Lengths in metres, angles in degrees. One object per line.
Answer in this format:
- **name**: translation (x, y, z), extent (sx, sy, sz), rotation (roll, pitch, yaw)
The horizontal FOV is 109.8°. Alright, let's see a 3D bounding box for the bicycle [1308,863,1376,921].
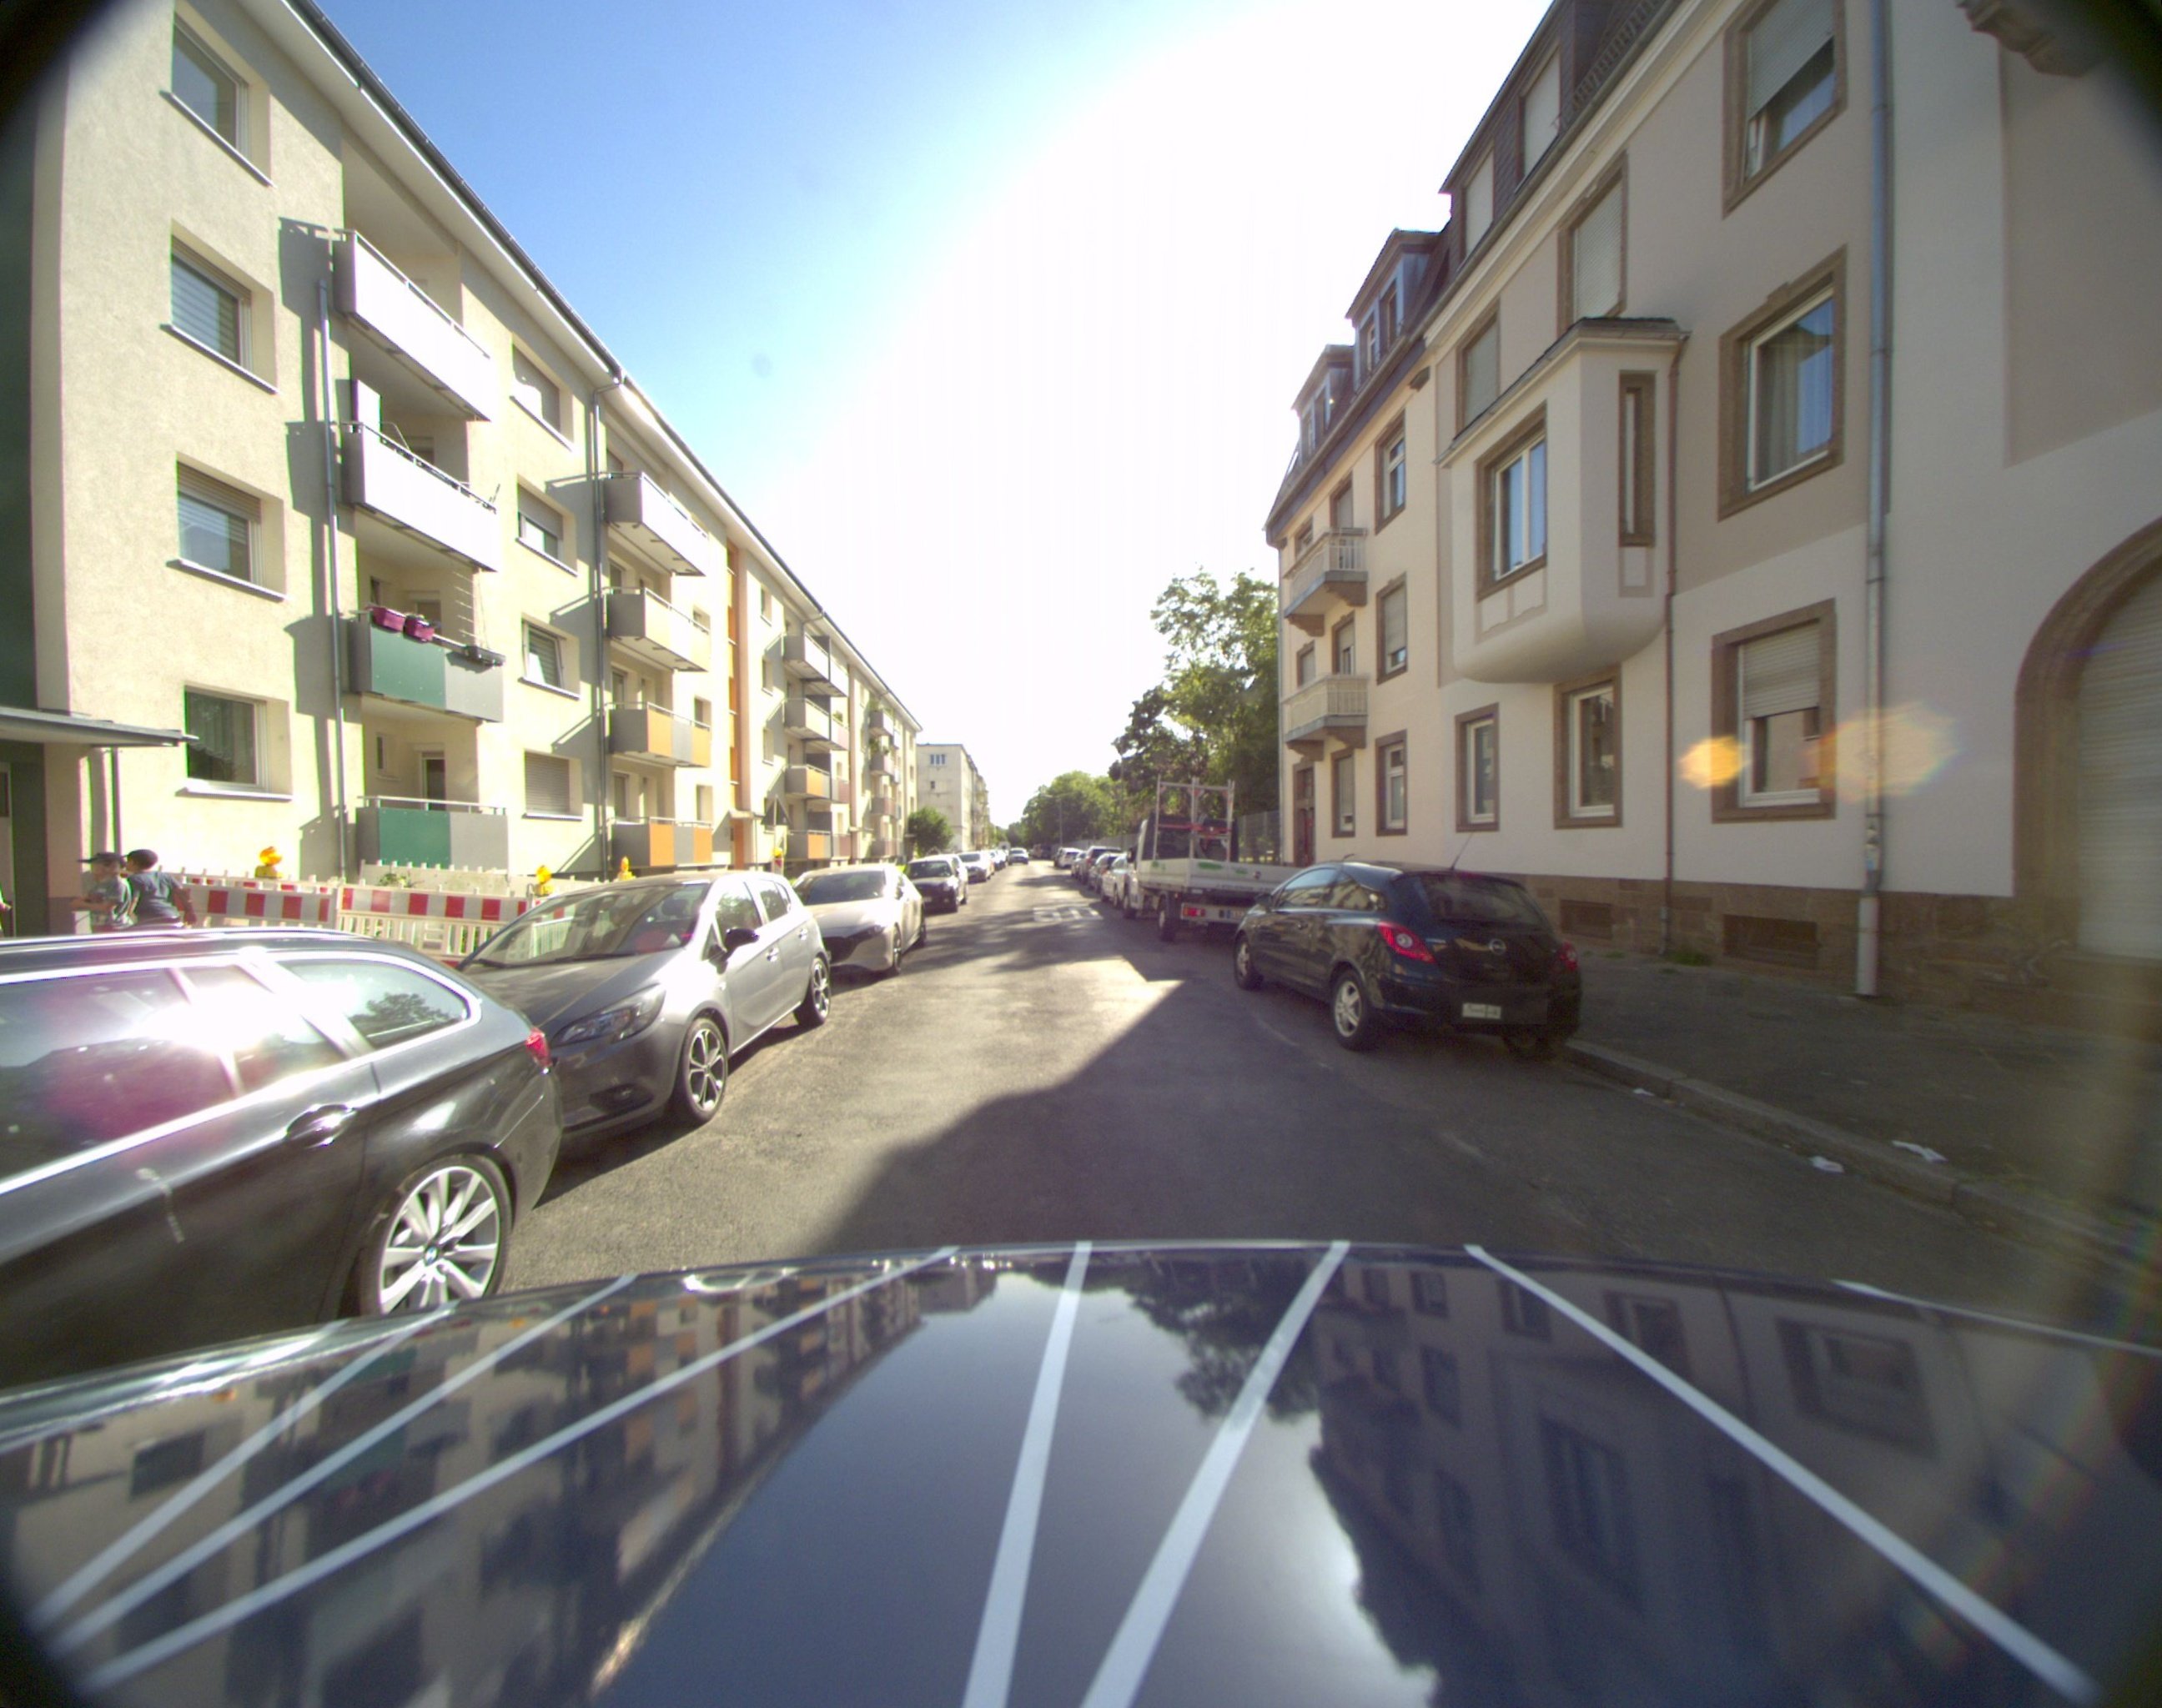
- **bicycle**: translation (5.987, 0.833, 17.552), extent (0.631, 1.197, 2.339), rotation (0, 0, -4)

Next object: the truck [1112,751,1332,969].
- **truck**: translation (2.160, 0.021, 14.430), extent (2.265, 2.969, 7.271), rotation (3, 1, -3)

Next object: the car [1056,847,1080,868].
- **car**: translation (-1.172, 0.263, 66.862), extent (1.717, 1.654, 4.162), rotation (3, 1, -5)

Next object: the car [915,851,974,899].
- **car**: translation (-4.506, 0.647, 25.518), extent (1.691, 1.454, 3.816), rotation (0, 1, -7)

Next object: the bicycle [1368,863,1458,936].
- **bicycle**: translation (6.338, 0.821, 14.645), extent (0.571, 1.272, 2.339), rotation (0, 0, -4)

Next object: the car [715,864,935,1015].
- **car**: translation (-3.354, 1.008, 10.913), extent (1.797, 1.463, 4.336), rotation (-4, 2, -3)

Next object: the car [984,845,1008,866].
- **car**: translation (-6.663, 0.104, 59.409), extent (1.757, 1.550, 4.252), rotation (-1, 1, -6)

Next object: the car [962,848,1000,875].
- **car**: translation (-5.772, 0.410, 44.240), extent (1.757, 1.436, 4.521), rotation (0, 1, -2)

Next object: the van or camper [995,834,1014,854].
- **van or camper**: translation (-12.566, -1.628, 124.520), extent (2.959, 3.161, 6.169), rotation (1, 0, -5)

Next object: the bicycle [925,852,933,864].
- **bicycle**: translation (-12.465, 0.320, 62.305), extent (0.486, 1.006, 2.282), rotation (1, 1, -7)

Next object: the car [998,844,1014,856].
- **car**: translation (-10.072, -0.608, 102.103), extent (2.070, 1.544, 3.997), rotation (-1, 1, -6)

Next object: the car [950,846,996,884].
- **car**: translation (-5.136, 0.481, 36.689), extent (1.904, 1.613, 4.599), rotation (-3, 1, -5)

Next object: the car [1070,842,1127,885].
- **car**: translation (0.668, 0.350, 33.159), extent (1.884, 1.654, 4.928), rotation (2, 1, -5)

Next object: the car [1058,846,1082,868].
- **car**: translation (-0.928, 0.231, 61.983), extent (1.568, 1.634, 3.613), rotation (3, 1, -5)

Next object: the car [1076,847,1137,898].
- **car**: translation (0.828, 0.584, 27.182), extent (1.797, 1.554, 4.457), rotation (-1, 1, -3)

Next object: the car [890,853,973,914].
- **car**: translation (-3.947, 0.727, 20.548), extent (1.693, 1.458, 3.581), rotation (0, 1, -3)

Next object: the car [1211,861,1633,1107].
- **car**: translation (2.622, 0.898, 7.056), extent (1.650, 1.408, 4.077), rotation (4, 1, -6)

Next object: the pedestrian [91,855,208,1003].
- **pedestrian**: translation (-9.348, 0.731, 7.645), extent (0.471, 1.425, 0.576), rotation (1, 1, -6)

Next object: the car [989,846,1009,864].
- **car**: translation (-6.933, 0.069, 64.557), extent (1.609, 1.476, 3.795), rotation (-1, 1, -5)

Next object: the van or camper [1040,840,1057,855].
- **van or camper**: translation (-5.029, -1.030, 116.891), extent (2.212, 2.268, 5.306), rotation (-1, 1, -6)

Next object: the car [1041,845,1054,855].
- **car**: translation (-4.900, -0.591, 110.877), extent (1.652, 1.409, 3.997), rotation (-1, 1, -6)

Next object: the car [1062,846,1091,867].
- **car**: translation (-0.380, 0.176, 56.007), extent (1.799, 1.436, 4.117), rotation (2, 1, -4)

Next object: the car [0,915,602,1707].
- **car**: translation (-2.704, 1.088, 0.691), extent (1.859, 1.515, 4.773), rotation (-1, 2, -6)

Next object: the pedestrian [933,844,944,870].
- **pedestrian**: translation (-9.919, 0.207, 52.876), extent (0.647, 1.761, 0.840), rotation (0, 2, -2)

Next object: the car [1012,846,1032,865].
- **car**: translation (-5.948, 0.145, 76.289), extent (1.862, 1.544, 3.995), rotation (-4, 3, -6)

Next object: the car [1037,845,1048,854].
- **car**: translation (-6.865, -0.832, 135.501), extent (1.652, 1.447, 3.997), rotation (-1, 1, -6)

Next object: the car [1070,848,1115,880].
- **car**: translation (0.537, 0.486, 39.797), extent (1.799, 1.462, 4.499), rotation (2, 1, -5)

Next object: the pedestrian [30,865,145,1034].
- **pedestrian**: translation (-8.814, 0.815, 6.757), extent (0.452, 1.425, 0.506), rotation (1, 1, -29)

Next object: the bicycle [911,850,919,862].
- **bicycle**: translation (-13.594, 0.152, 62.298), extent (0.486, 0.955, 2.282), rotation (1, 1, -7)

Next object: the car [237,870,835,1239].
- **car**: translation (-3.092, 0.947, 5.441), extent (1.650, 1.452, 3.936), rotation (-1, 2, -5)

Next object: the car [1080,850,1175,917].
- **car**: translation (1.162, 0.732, 21.336), extent (1.798, 1.532, 4.638), rotation (5, 0, -6)

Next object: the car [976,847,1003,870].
- **car**: translation (-6.407, 0.262, 53.488), extent (1.757, 1.472, 4.077), rotation (-1, 1, -6)

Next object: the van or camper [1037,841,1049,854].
- **van or camper**: translation (-7.484, -1.290, 148.212), extent (2.127, 2.484, 3.997), rotation (0, 1, -6)
